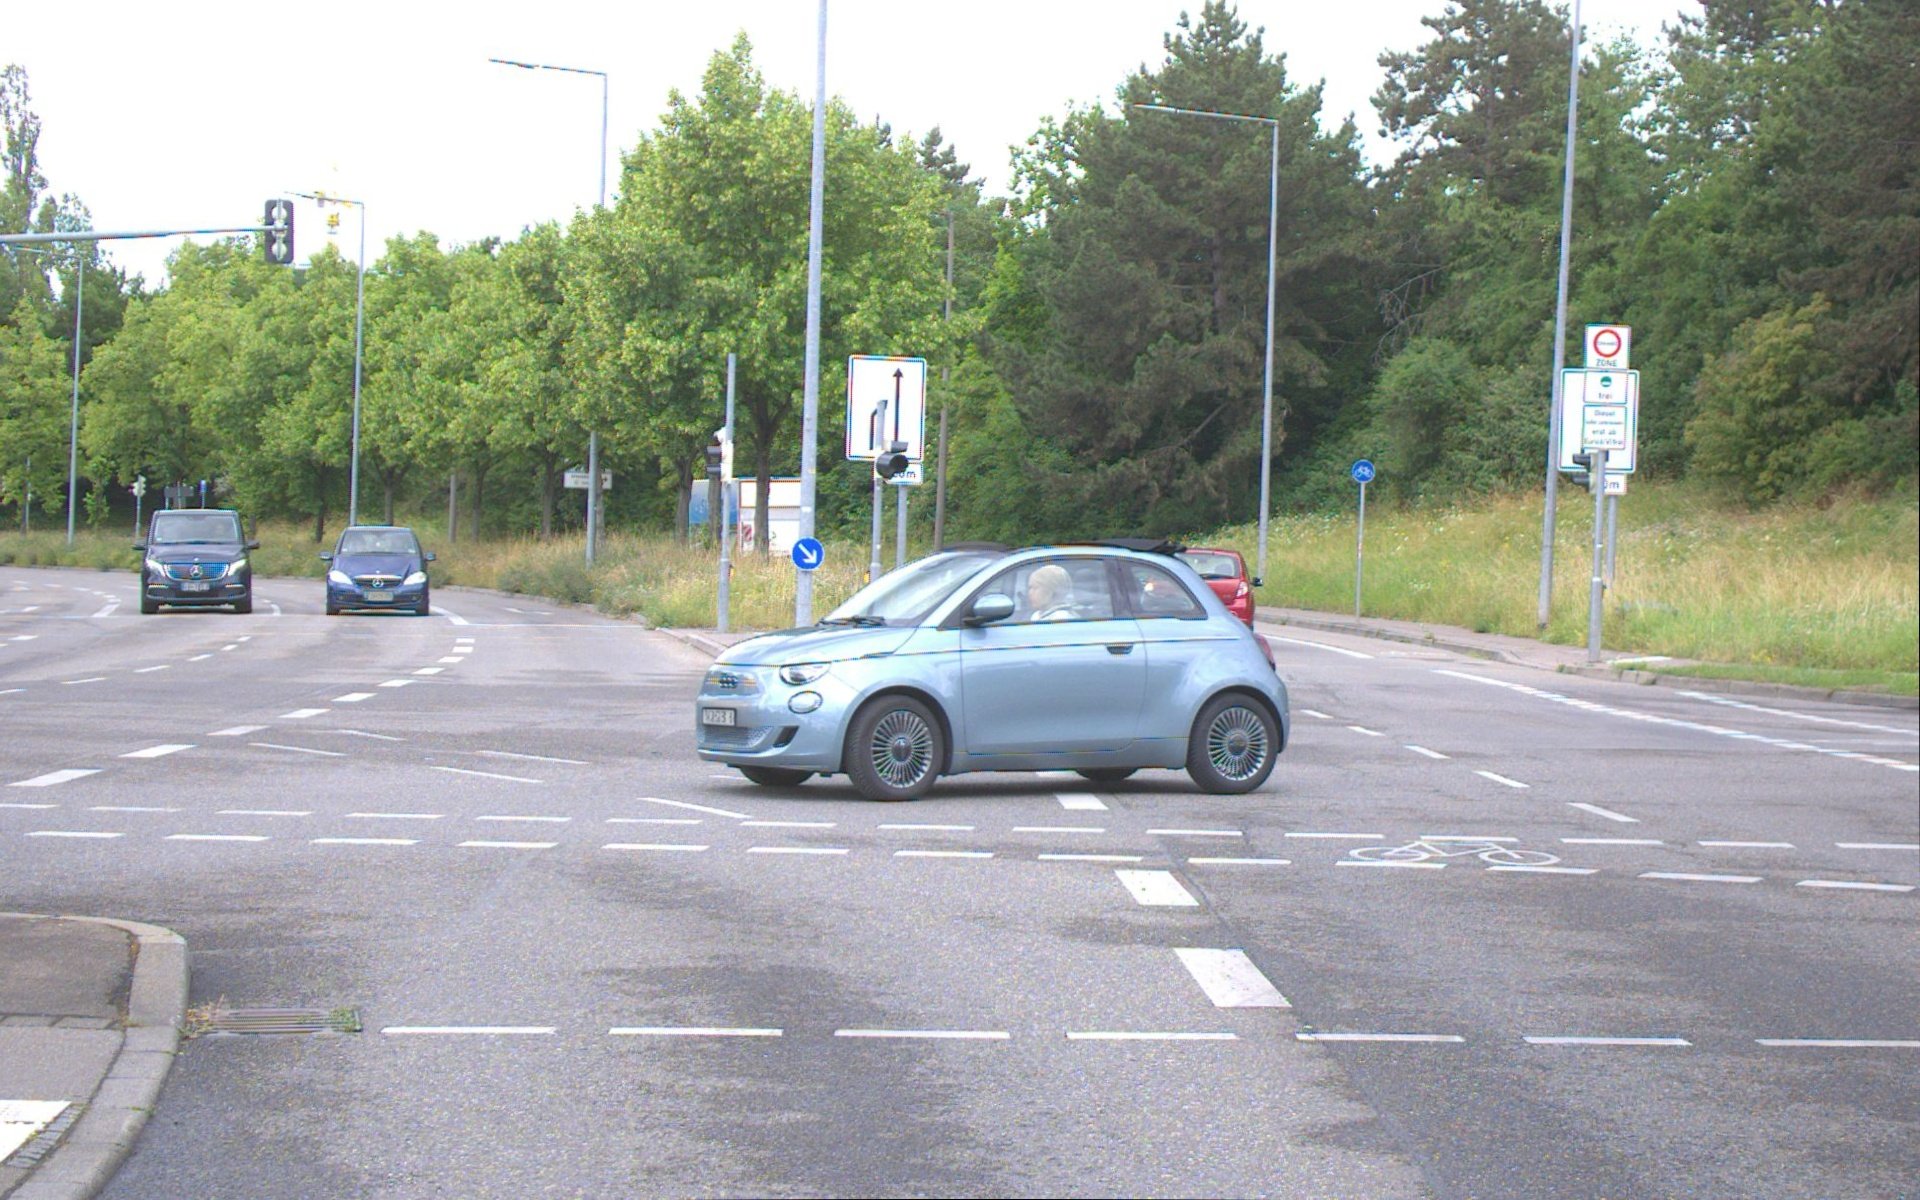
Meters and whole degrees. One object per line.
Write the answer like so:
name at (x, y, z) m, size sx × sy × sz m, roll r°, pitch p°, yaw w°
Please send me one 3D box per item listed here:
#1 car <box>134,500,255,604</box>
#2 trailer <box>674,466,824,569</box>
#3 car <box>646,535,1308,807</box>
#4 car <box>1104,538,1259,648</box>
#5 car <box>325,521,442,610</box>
car at (-13.784, -0.879, 62.121) m, size 1.887 × 1.806 × 5.094 m, roll 0°, pitch 1°, yaw -10°
trailer at (-6.436, -2.468, 104.231) m, size 2.746 × 3.002 × 6.089 m, roll 1°, pitch 1°, yaw -22°
car at (0.114, 0.397, 20.836) m, size 3.588 × 1.523 × 1.762 m, roll 1°, pitch 1°, yaw -29°
car at (3.364, -0.123, 52.811) m, size 1.784 × 1.598 × 3.888 m, roll 1°, pitch 1°, yaw -5°
car at (-10.146, -0.616, 60.728) m, size 1.735 × 1.503 × 3.661 m, roll 1°, pitch 1°, yaw -5°
